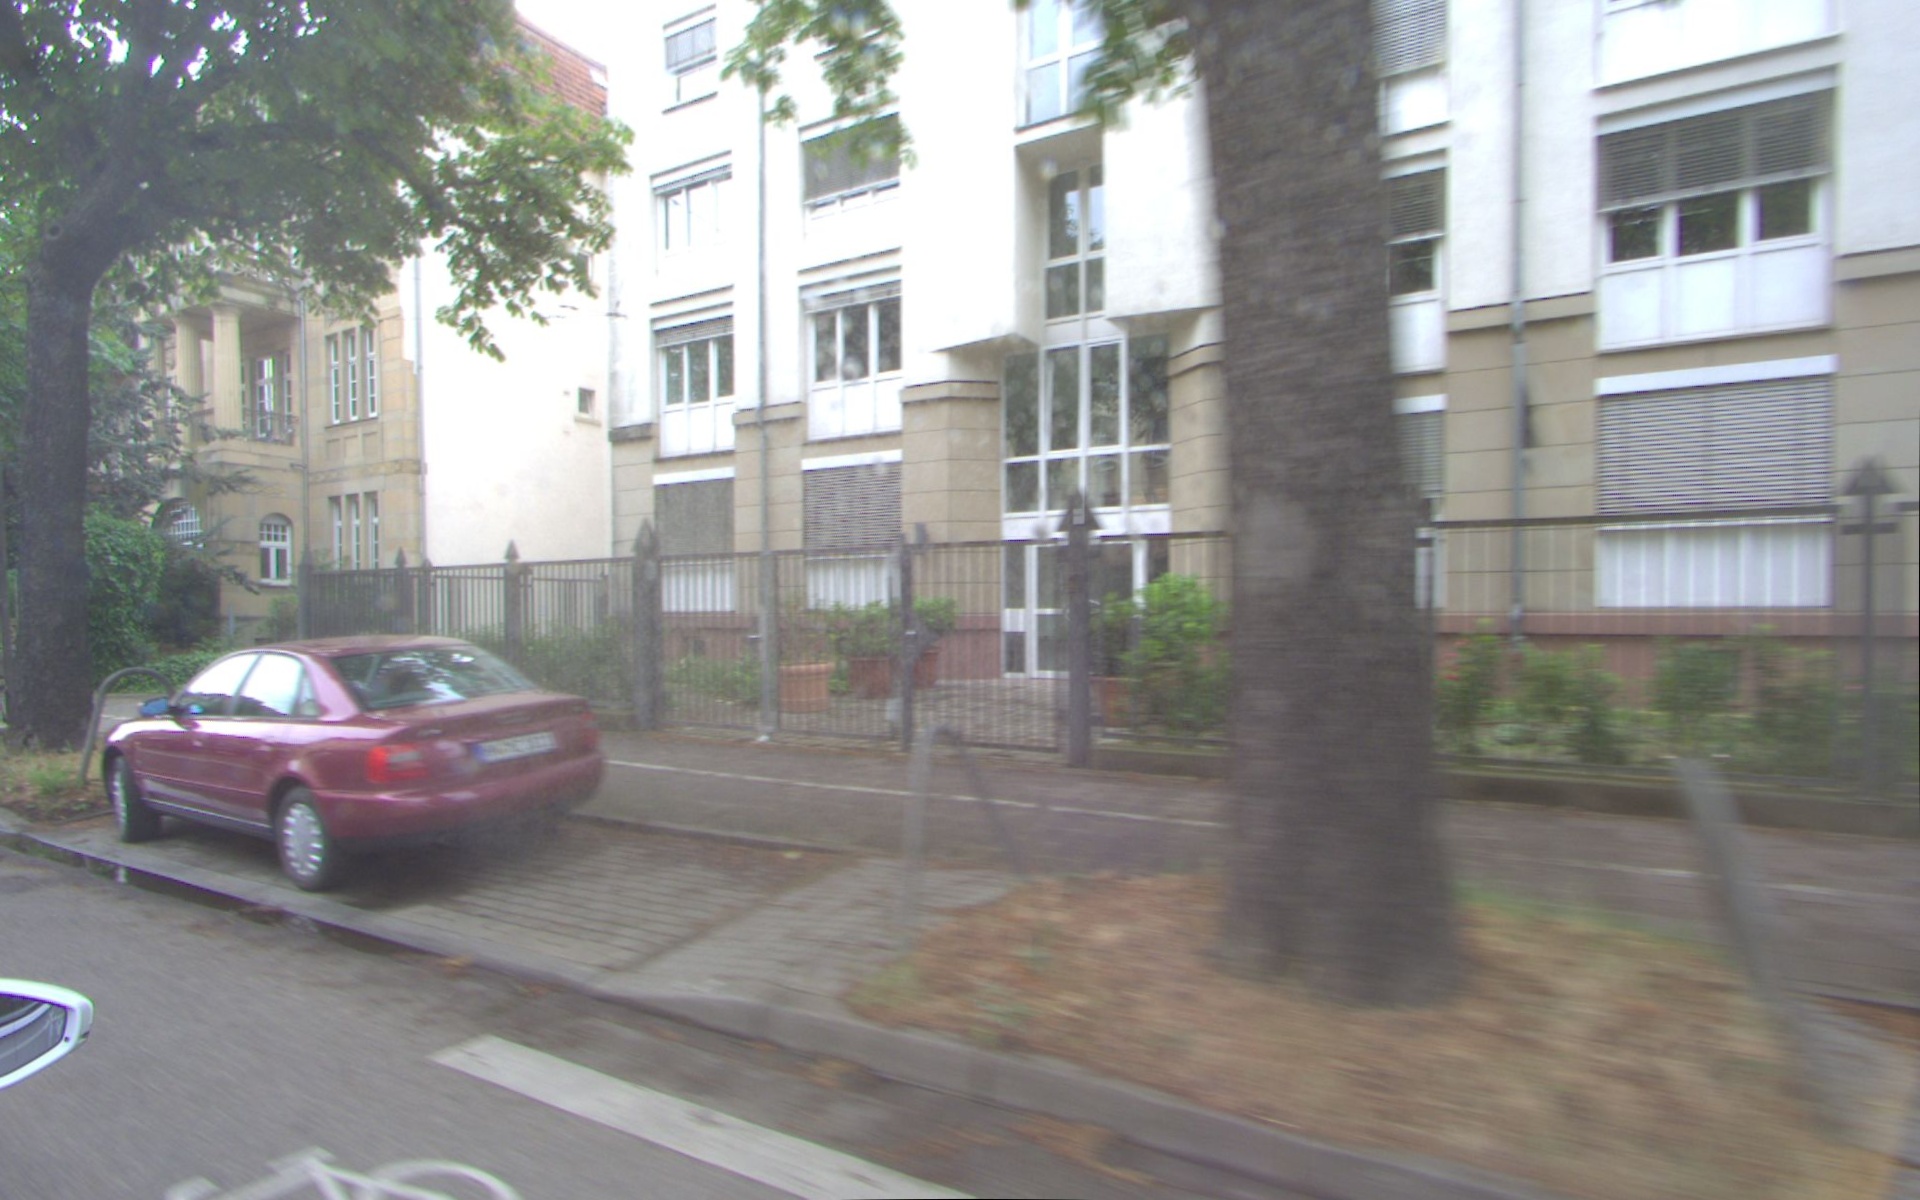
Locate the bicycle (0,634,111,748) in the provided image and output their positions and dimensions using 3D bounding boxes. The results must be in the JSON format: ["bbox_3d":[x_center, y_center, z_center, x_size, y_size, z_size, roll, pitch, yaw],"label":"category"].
[{"bbox_3d":[-10.570,0.998,11.506,0.425,1.213,1.902,0,-1,-14],"label":"bicycle"}]

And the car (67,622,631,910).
[{"bbox_3d":[-4.383,0.912,7.013,4.165,1.418,1.599,0,2,31],"label":"car"}]
